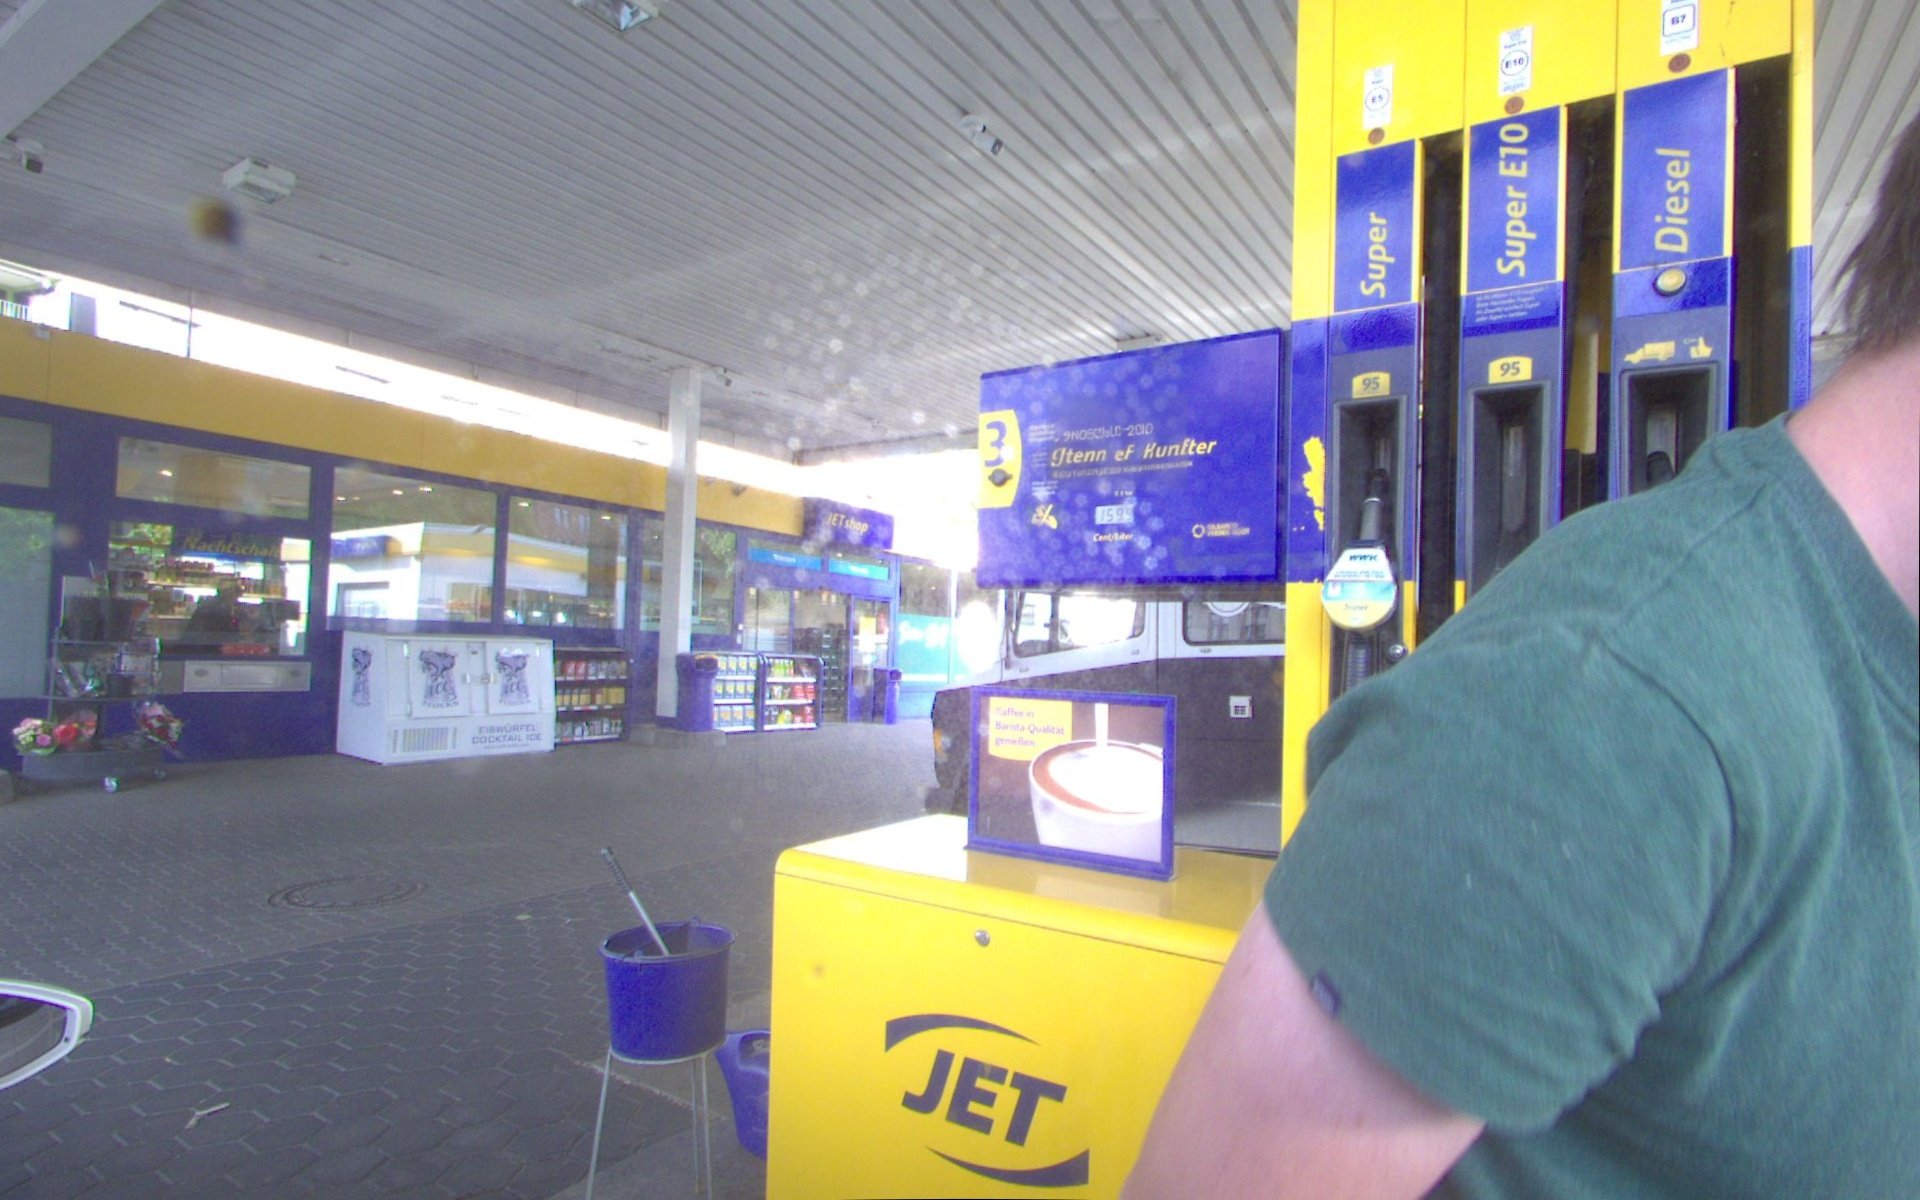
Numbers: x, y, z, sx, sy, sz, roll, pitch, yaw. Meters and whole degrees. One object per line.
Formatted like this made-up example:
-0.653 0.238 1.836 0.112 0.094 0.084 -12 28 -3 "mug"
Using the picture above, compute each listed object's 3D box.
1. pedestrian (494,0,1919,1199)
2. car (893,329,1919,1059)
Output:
0.541 0.560 0.535 1.167 1.750 0.988 -2 -2 35 "pedestrian"
2.359 0.433 5.997 5.271 2.759 2.193 -1 -3 34 "car"
